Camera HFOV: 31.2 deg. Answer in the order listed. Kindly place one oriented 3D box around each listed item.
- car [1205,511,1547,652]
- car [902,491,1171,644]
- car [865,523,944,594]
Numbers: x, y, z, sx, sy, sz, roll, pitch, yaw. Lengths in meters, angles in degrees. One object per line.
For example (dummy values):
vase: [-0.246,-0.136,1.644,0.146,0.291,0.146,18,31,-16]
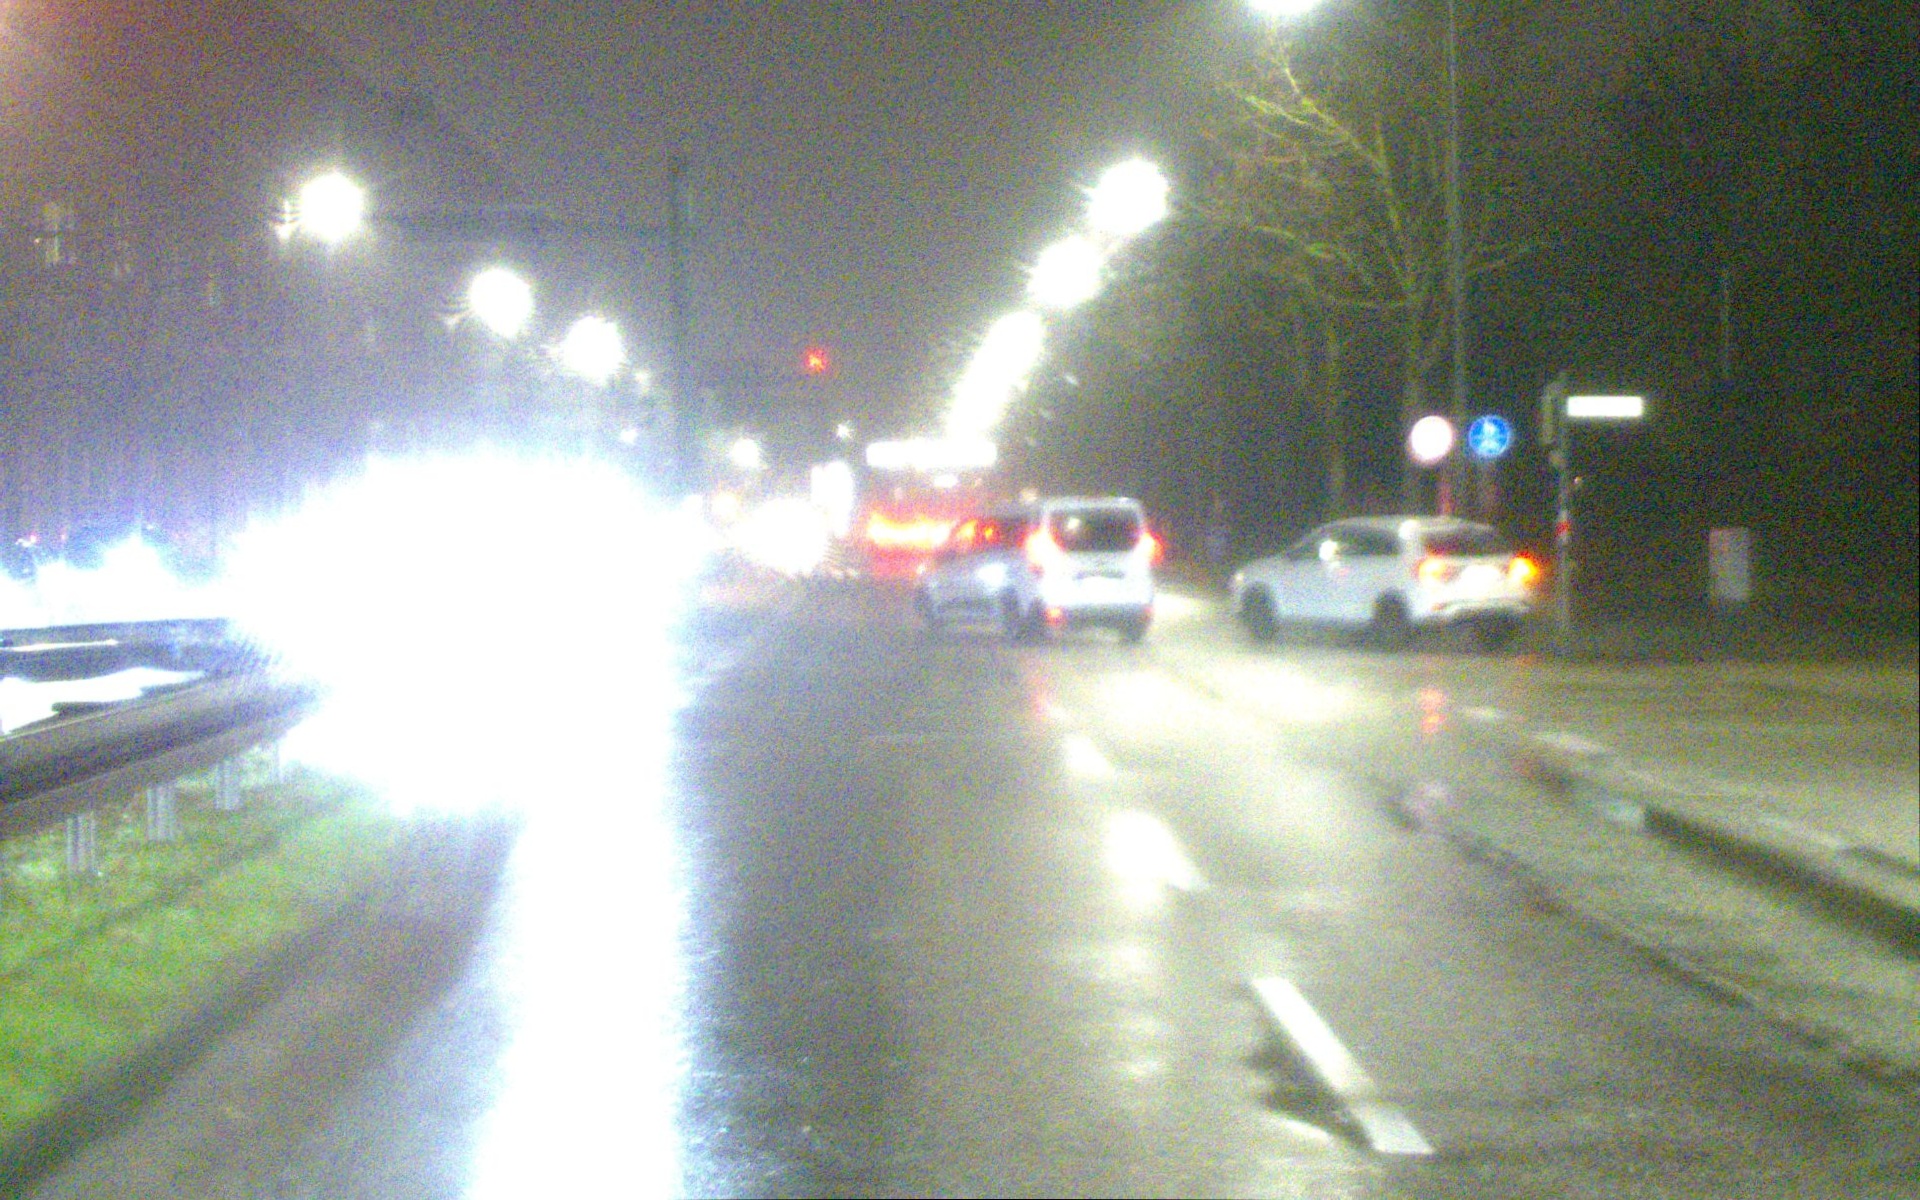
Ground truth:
car: [5.169,-0.248,43.246,1.791,1.673,4.428,1,1,-34]
car: [0.922,-0.429,44.775,1.790,1.868,4.628,1,1,-22]
car: [-1.748,-1.281,106.703,2.134,2.137,4.929,1,1,-4]
